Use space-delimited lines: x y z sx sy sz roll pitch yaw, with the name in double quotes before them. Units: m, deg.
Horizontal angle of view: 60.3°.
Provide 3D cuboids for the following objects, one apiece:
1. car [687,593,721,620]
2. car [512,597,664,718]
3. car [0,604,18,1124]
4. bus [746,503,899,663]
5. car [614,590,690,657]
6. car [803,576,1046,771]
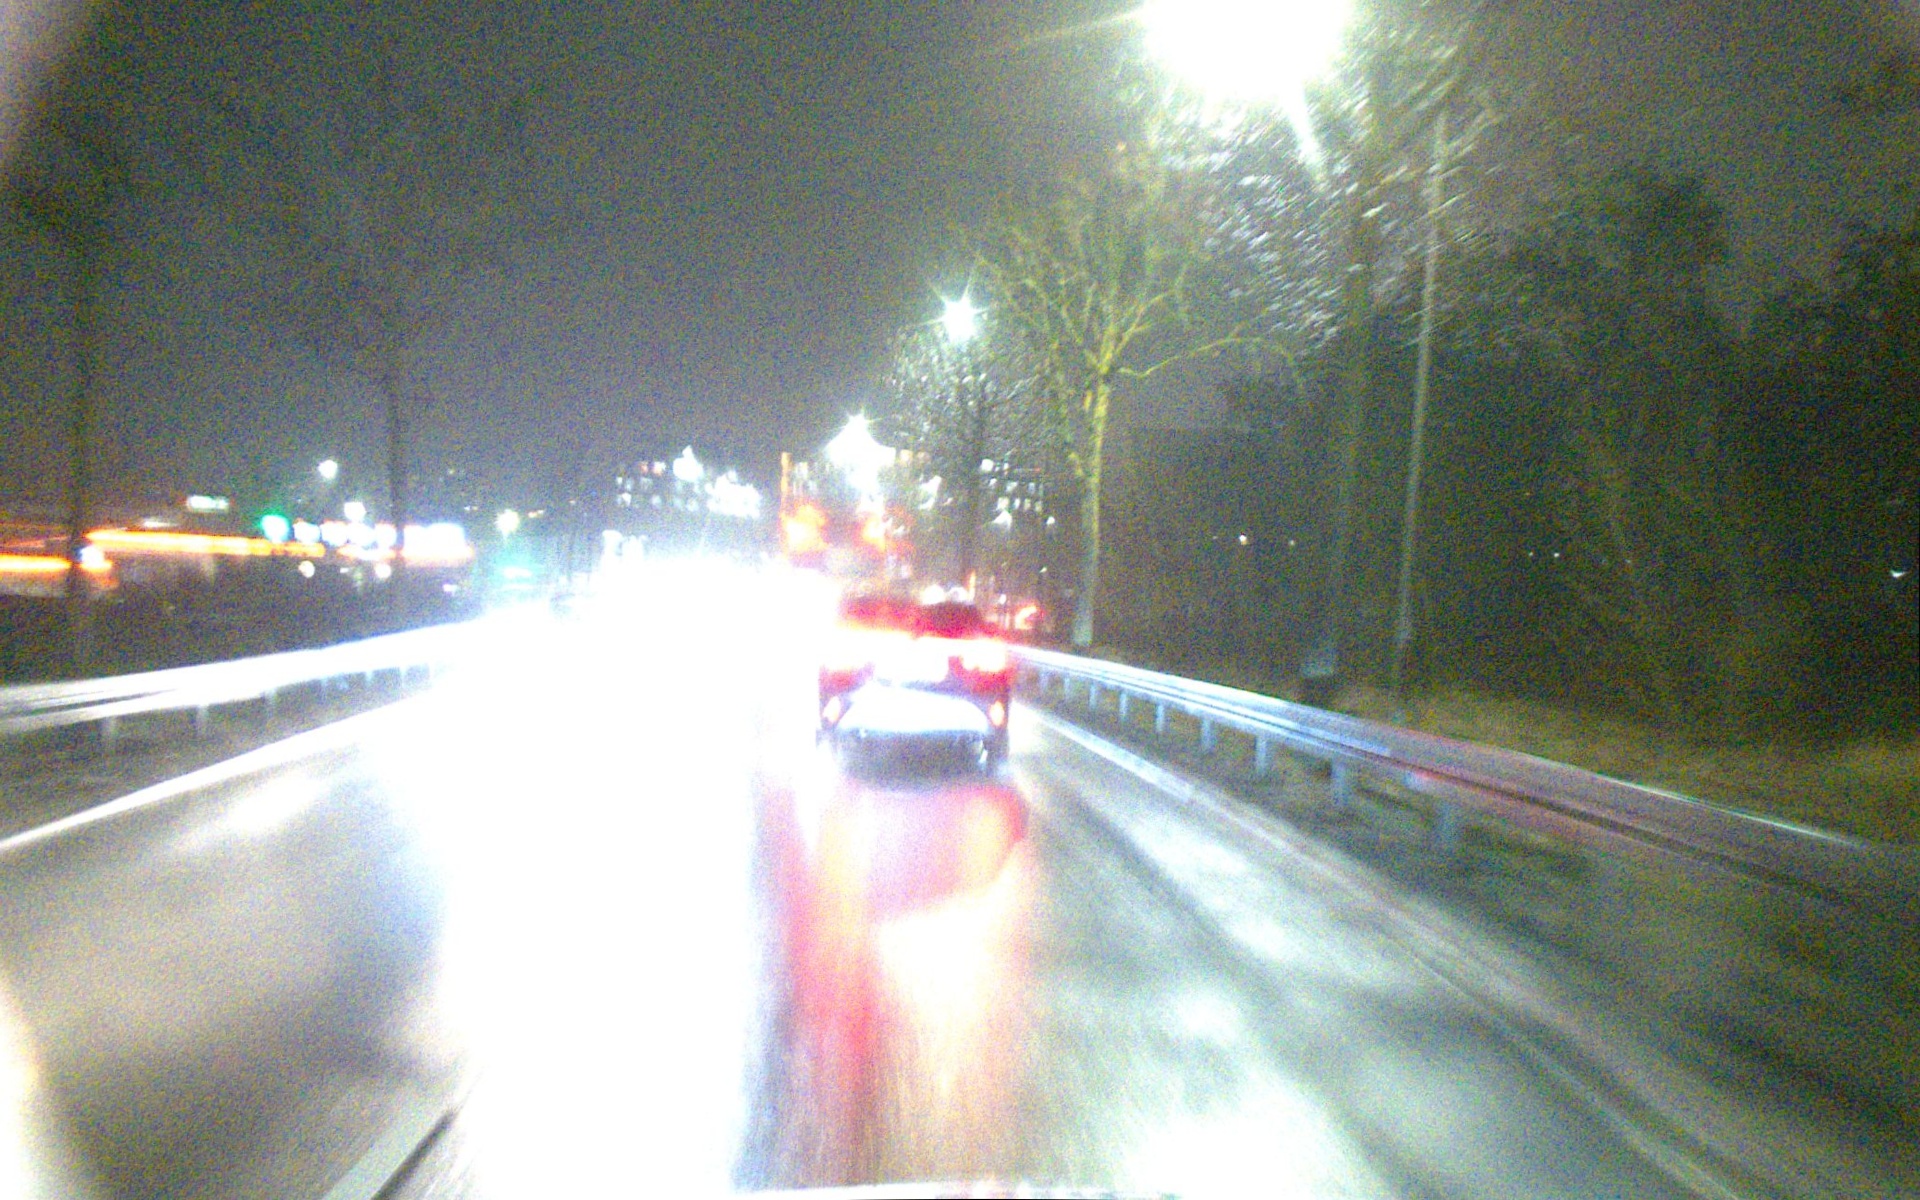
"car" -14.615 0.357 94.404 1.791 1.427 4.027 2 0 -10
"car" -4.909 0.711 22.236 1.633 1.457 3.813 1 0 -7
"car" -3.394 0.706 2.263 1.756 1.416 4.589 0 0 -3
"bus" -3.399 -0.368 38.421 2.987 3.268 9.033 0 0 -8
"car" -7.293 0.514 39.395 1.587 1.504 4.039 0 0 -8
"car" -0.302 0.576 15.537 1.953 1.551 4.000 1 1 0
